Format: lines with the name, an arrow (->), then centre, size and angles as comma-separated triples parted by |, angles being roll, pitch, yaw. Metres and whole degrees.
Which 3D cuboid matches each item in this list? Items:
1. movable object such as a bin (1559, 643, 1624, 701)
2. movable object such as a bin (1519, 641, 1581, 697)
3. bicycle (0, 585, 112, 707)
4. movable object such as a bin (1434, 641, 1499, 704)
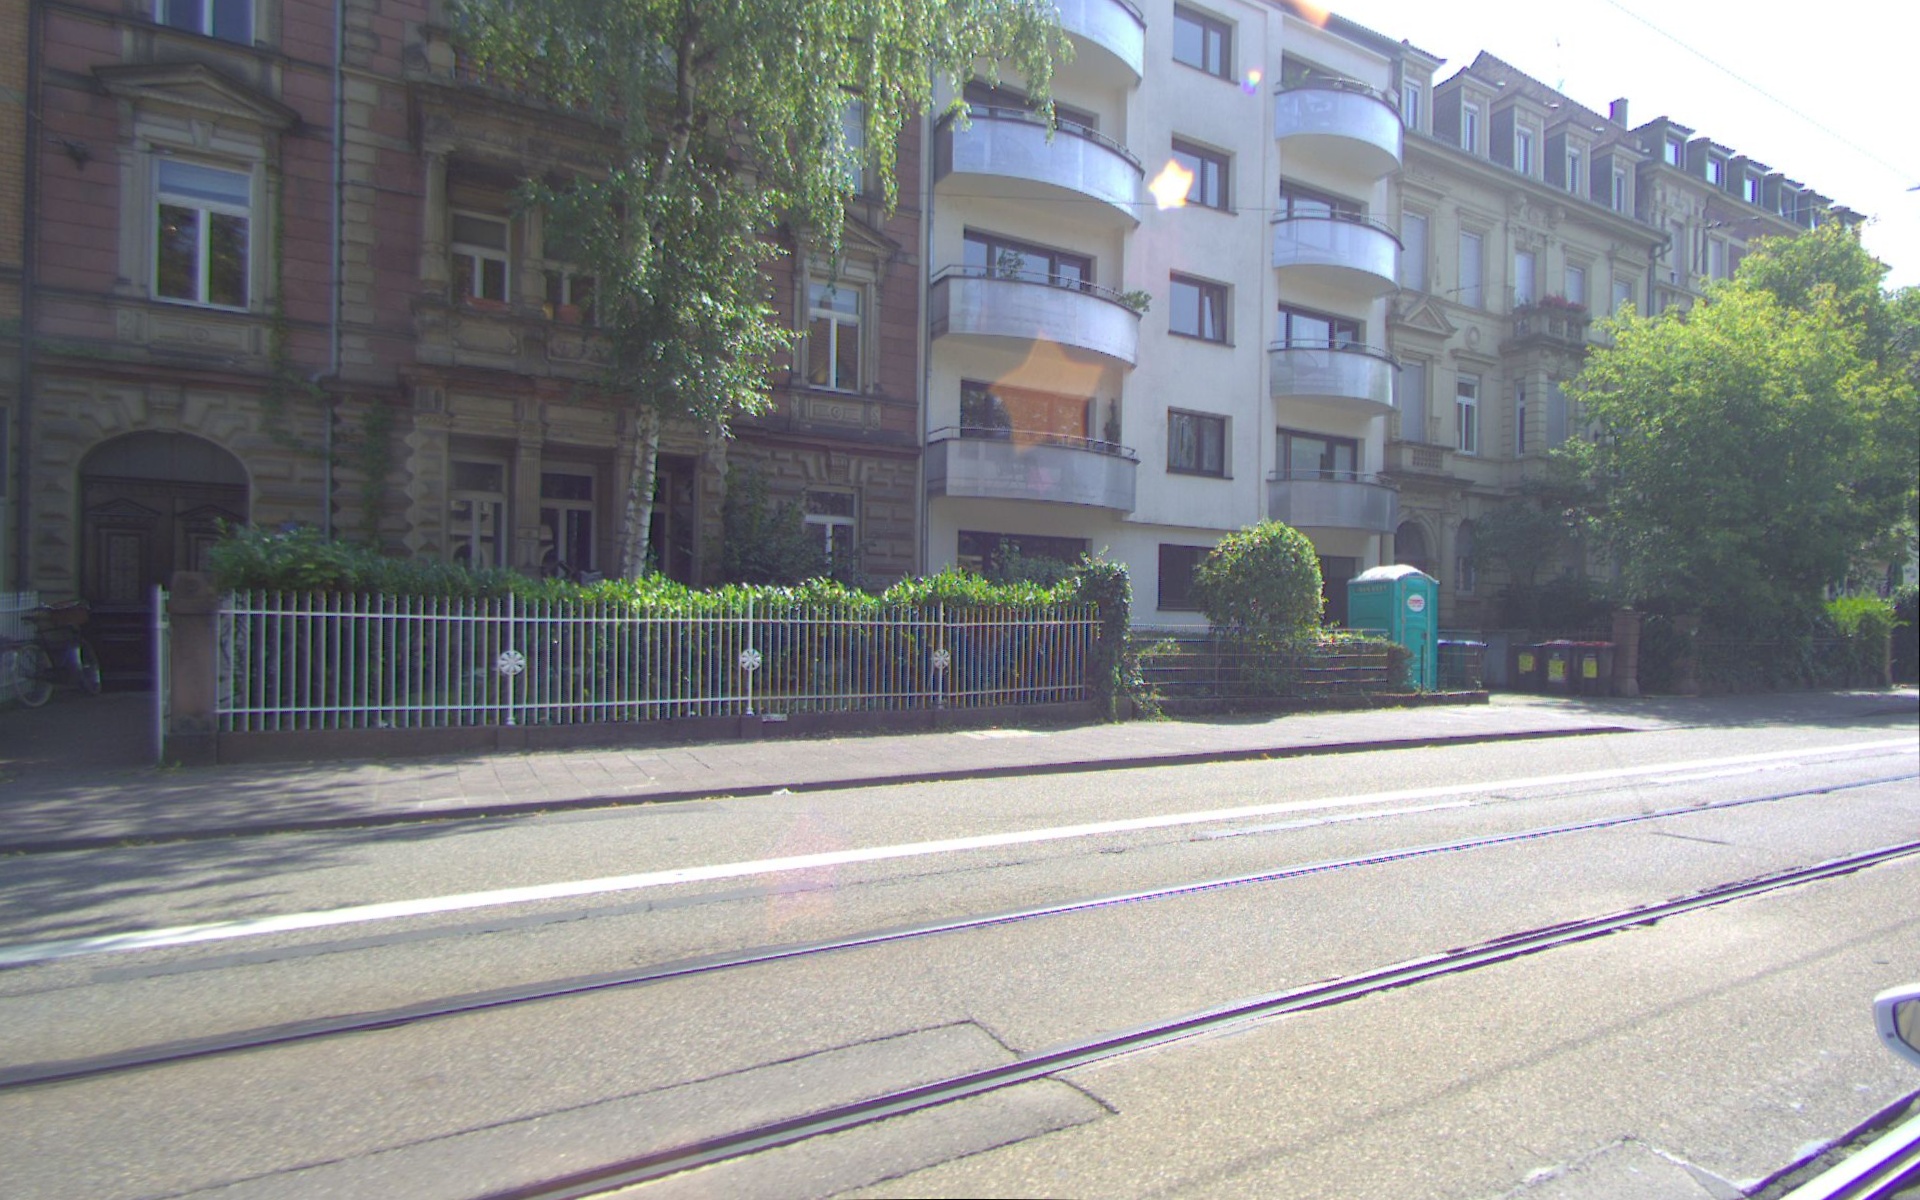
movable object such as a bin -> 12.622, 1.437, 20.080 | 0.793, 1.090, 0.784 | 2, 0, -26
movable object such as a bin -> 12.189, 1.410, 20.761 | 0.793, 1.090, 0.784 | 2, 0, -26
bicycle -> -10.624, 0.491, 11.724 | 0.707, 1.309, 1.805 | 2, 0, -28
movable object such as a bin -> 9.436, 1.340, 18.715 | 0.746, 1.090, 0.782 | 2, 0, -31
